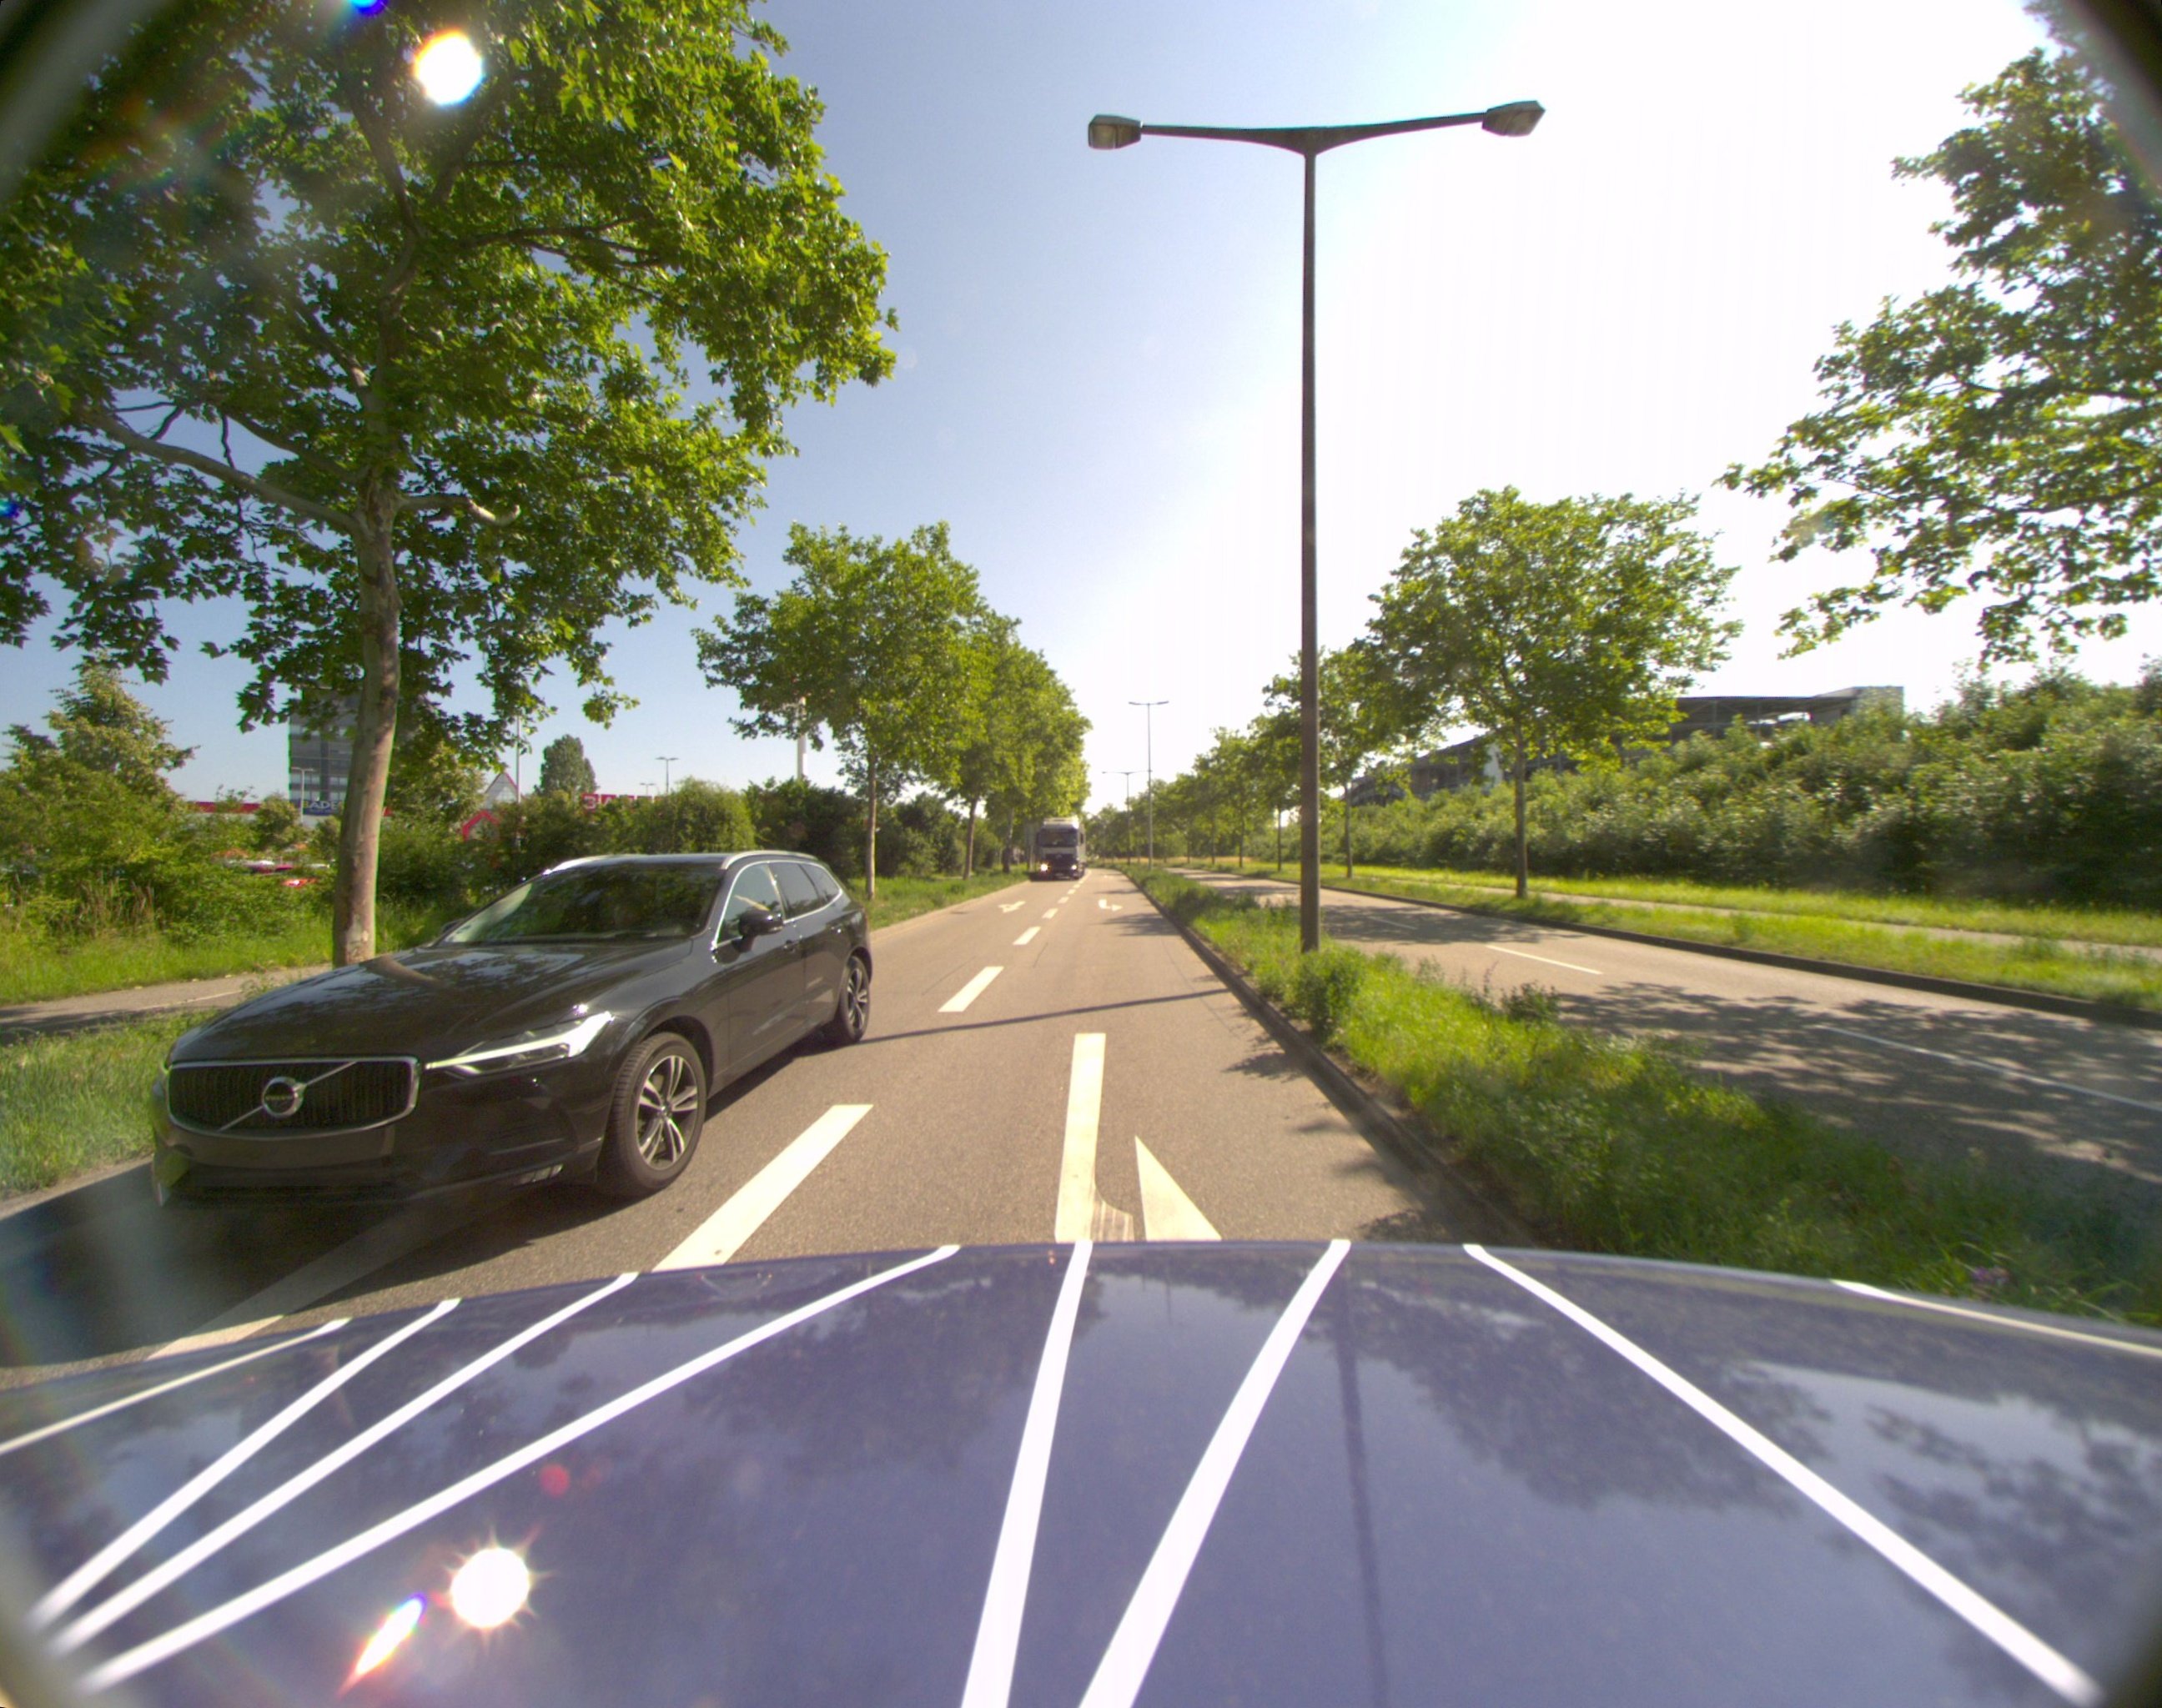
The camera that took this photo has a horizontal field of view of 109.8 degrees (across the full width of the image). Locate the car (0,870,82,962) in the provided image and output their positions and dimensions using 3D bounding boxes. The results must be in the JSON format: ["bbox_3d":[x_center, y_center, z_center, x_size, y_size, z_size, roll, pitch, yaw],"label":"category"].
[{"bbox_3d":[-22.085,1.227,14.468,3.558,1.686,1.718,-1,1,-4],"label":"car"}]

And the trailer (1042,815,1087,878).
[{"bbox_3d":[-1.010,-0.528,55.103,2.805,4.023,10.796,-1,1,1],"label":"trailer"}]

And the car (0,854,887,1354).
[{"bbox_3d":[-2.836,0.855,4.847,1.924,1.613,4.564,-1,1,1],"label":"car"}]

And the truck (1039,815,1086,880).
[{"bbox_3d":[-1.107,-0.429,49.271,2.741,3.872,5.851,-1,1,1],"label":"truck"}]
